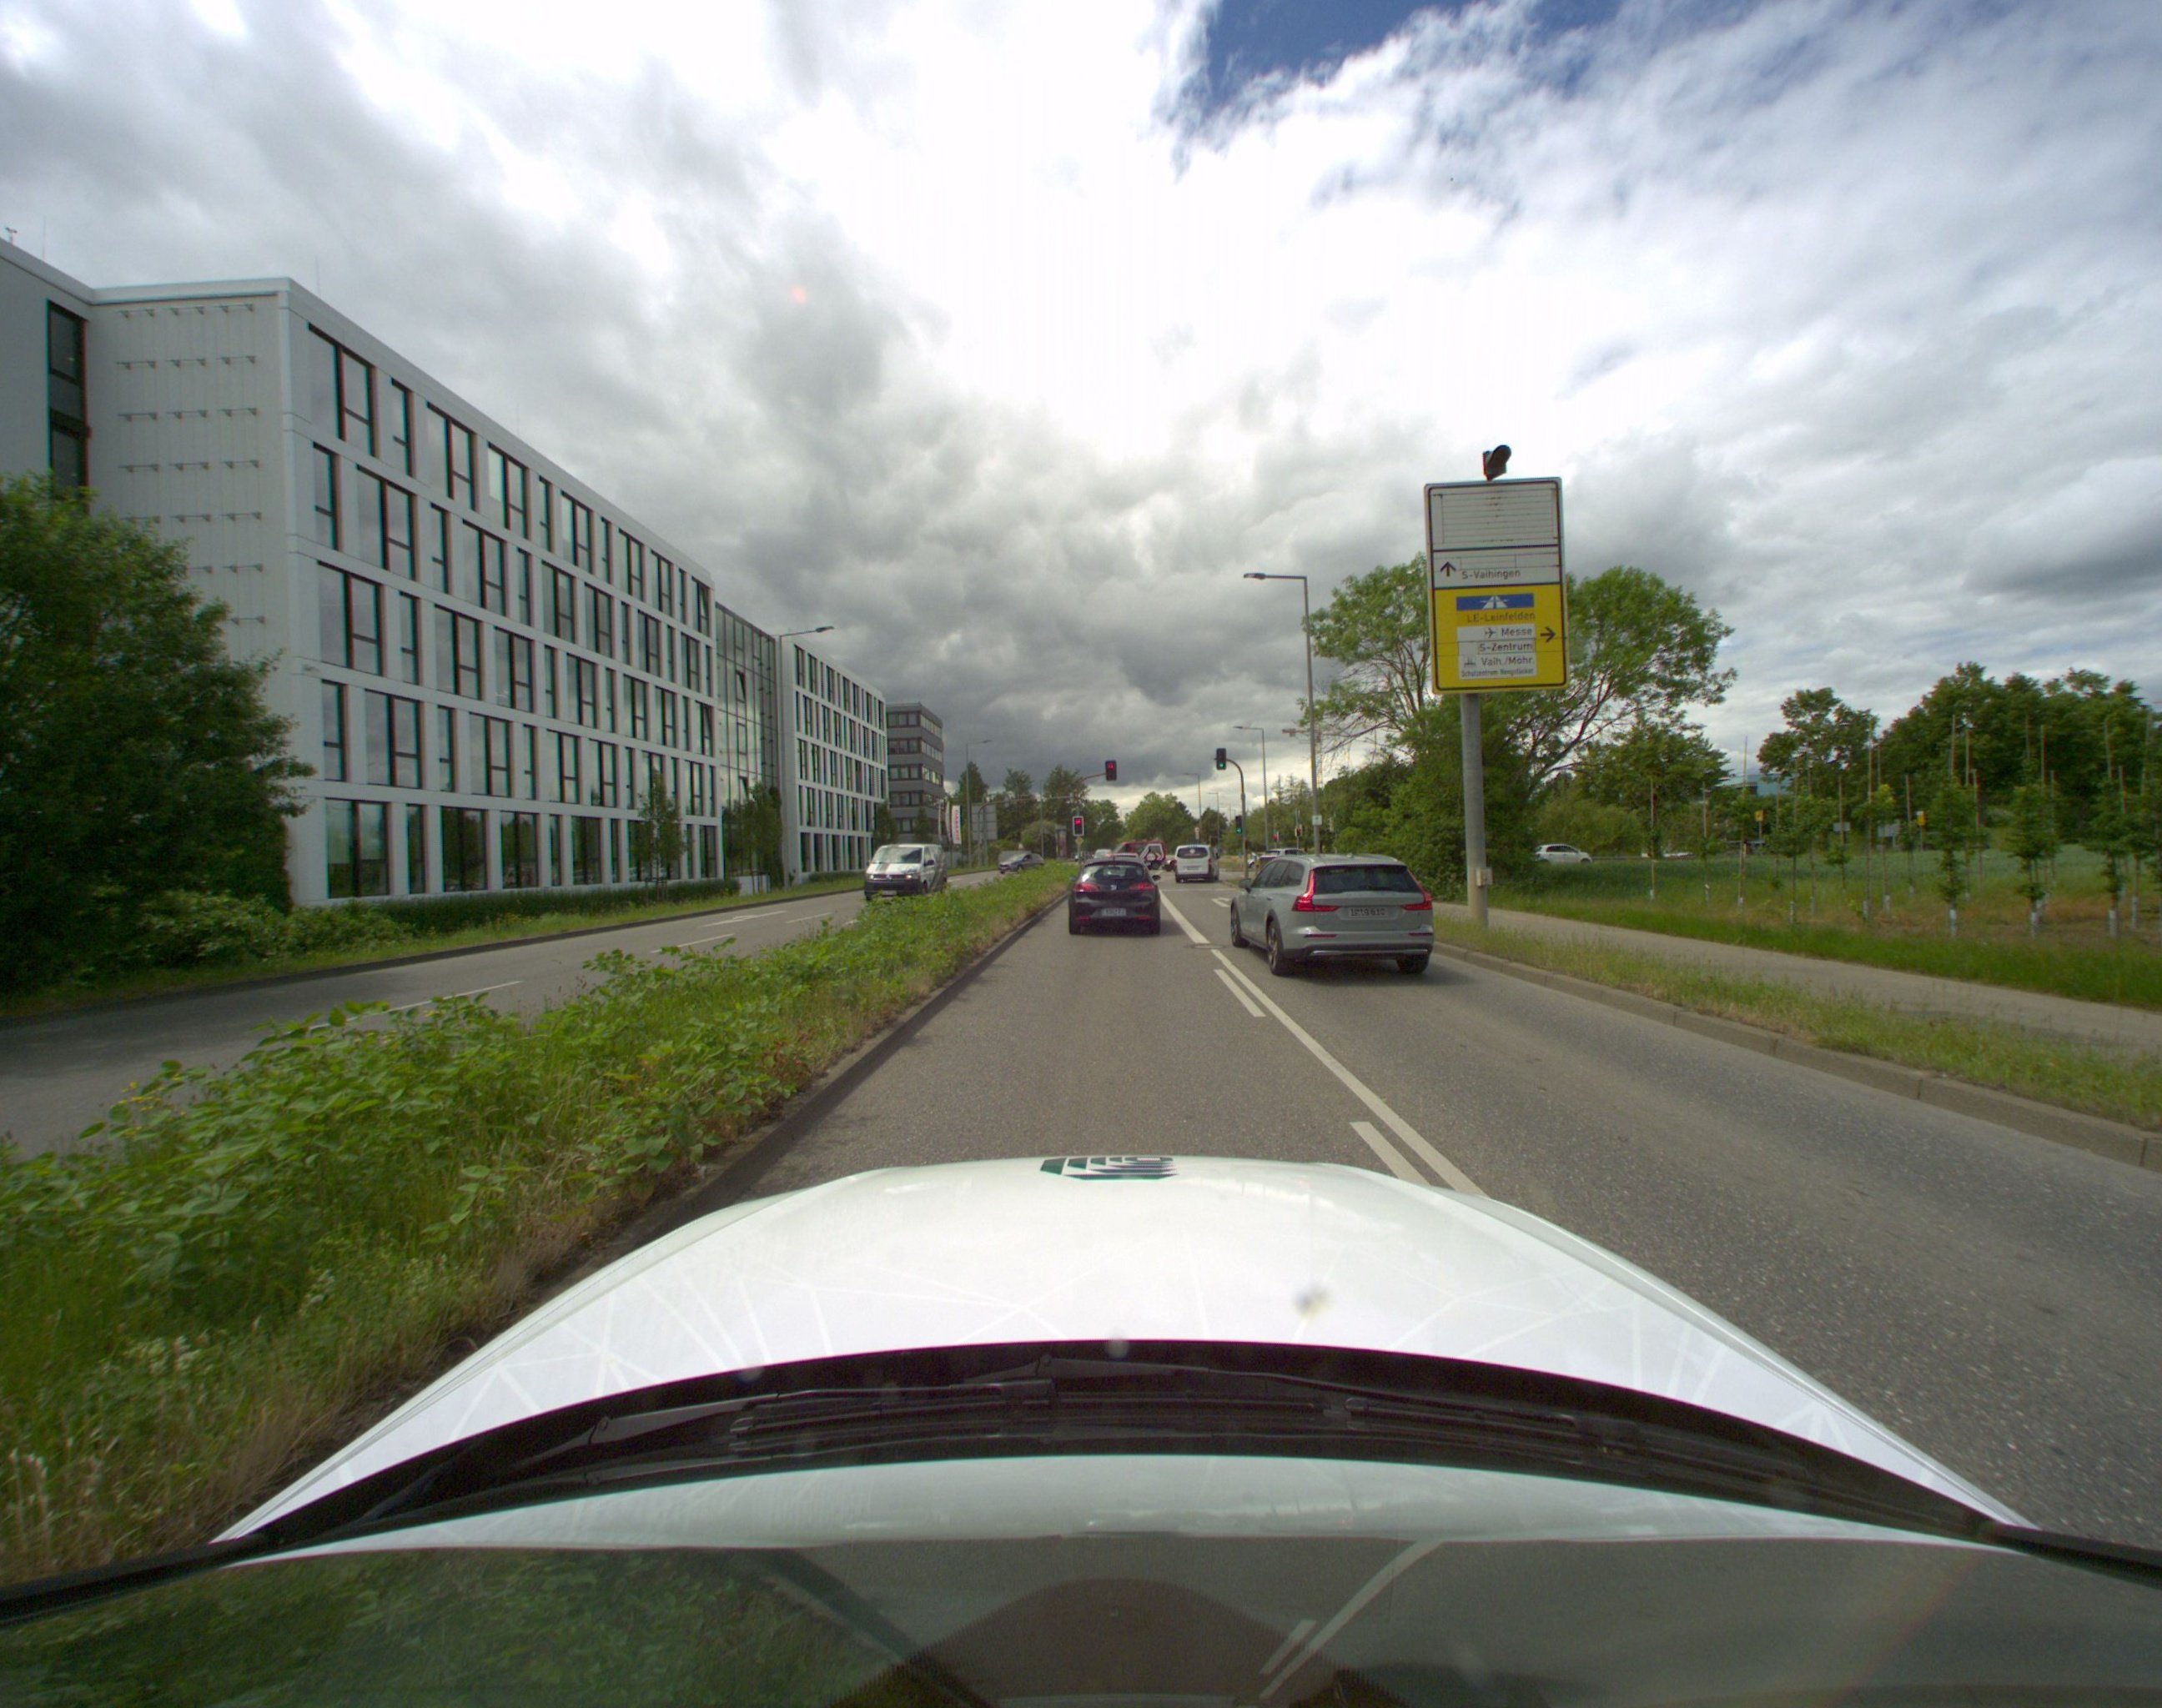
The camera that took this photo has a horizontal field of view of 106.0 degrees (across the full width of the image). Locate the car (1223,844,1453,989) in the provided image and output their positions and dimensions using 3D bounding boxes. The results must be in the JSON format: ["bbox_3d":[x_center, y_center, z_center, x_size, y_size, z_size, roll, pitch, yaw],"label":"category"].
[{"bbox_3d":[3.206,0.677,11.155,1.855,1.518,4.449,-2,0,2],"label":"car"}]

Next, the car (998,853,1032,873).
[{"bbox_3d":[-4.806,0.649,59.941,1.925,1.398,4.003,-1,0,2],"label":"car"}]

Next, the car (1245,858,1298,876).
[{"bbox_3d":[15.708,1.099,67.399,3.971,1.354,2.001,-1,0,2],"label":"car"}]

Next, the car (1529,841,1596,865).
[{"bbox_3d":[30.172,-0.059,51.036,3.382,1.345,1.682,-2,0,-12],"label":"car"}]

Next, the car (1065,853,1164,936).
[{"bbox_3d":[0.701,0.723,16.350,1.766,1.451,3.585,0,0,3],"label":"car"}]

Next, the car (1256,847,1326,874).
[{"bbox_3d":[13.144,0.398,50.991,4.013,1.596,1.980,-2,0,-31],"label":"car"}]

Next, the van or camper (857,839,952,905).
[{"bbox_3d":[-5.903,0.561,27.831,1.986,2.013,4.818,-2,0,2],"label":"van or camper"}]

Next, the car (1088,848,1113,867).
[{"bbox_3d":[1.819,0.284,74.571,1.983,1.596,4.007,-1,0,6],"label":"car"}]

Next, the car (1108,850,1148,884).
[{"bbox_3d":[2.285,0.600,40.074,1.767,1.491,3.583,-2,0,1],"label":"car"}]

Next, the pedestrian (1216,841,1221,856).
[{"bbox_3d":[16.805,-0.667,99.575,0.556,1.726,0.589,0,0,4],"label":"pedestrian"}]

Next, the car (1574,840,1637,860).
[{"bbox_3d":[37.127,-0.275,57.686,3.365,1.345,1.691,-2,0,3],"label":"car"}]

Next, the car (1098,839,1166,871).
[{"bbox_3d":[4.161,0.105,66.804,5.224,2.412,1.993,-2,0,-11],"label":"car"}]

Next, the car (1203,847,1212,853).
[{"bbox_3d":[32.495,-1.077,209.316,1.980,1.352,4.013,-1,0,11],"label":"car"}]

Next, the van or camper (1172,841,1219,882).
[{"bbox_3d":[5.845,0.349,41.088,1.980,1.860,4.960,-2,0,12],"label":"van or camper"}]
